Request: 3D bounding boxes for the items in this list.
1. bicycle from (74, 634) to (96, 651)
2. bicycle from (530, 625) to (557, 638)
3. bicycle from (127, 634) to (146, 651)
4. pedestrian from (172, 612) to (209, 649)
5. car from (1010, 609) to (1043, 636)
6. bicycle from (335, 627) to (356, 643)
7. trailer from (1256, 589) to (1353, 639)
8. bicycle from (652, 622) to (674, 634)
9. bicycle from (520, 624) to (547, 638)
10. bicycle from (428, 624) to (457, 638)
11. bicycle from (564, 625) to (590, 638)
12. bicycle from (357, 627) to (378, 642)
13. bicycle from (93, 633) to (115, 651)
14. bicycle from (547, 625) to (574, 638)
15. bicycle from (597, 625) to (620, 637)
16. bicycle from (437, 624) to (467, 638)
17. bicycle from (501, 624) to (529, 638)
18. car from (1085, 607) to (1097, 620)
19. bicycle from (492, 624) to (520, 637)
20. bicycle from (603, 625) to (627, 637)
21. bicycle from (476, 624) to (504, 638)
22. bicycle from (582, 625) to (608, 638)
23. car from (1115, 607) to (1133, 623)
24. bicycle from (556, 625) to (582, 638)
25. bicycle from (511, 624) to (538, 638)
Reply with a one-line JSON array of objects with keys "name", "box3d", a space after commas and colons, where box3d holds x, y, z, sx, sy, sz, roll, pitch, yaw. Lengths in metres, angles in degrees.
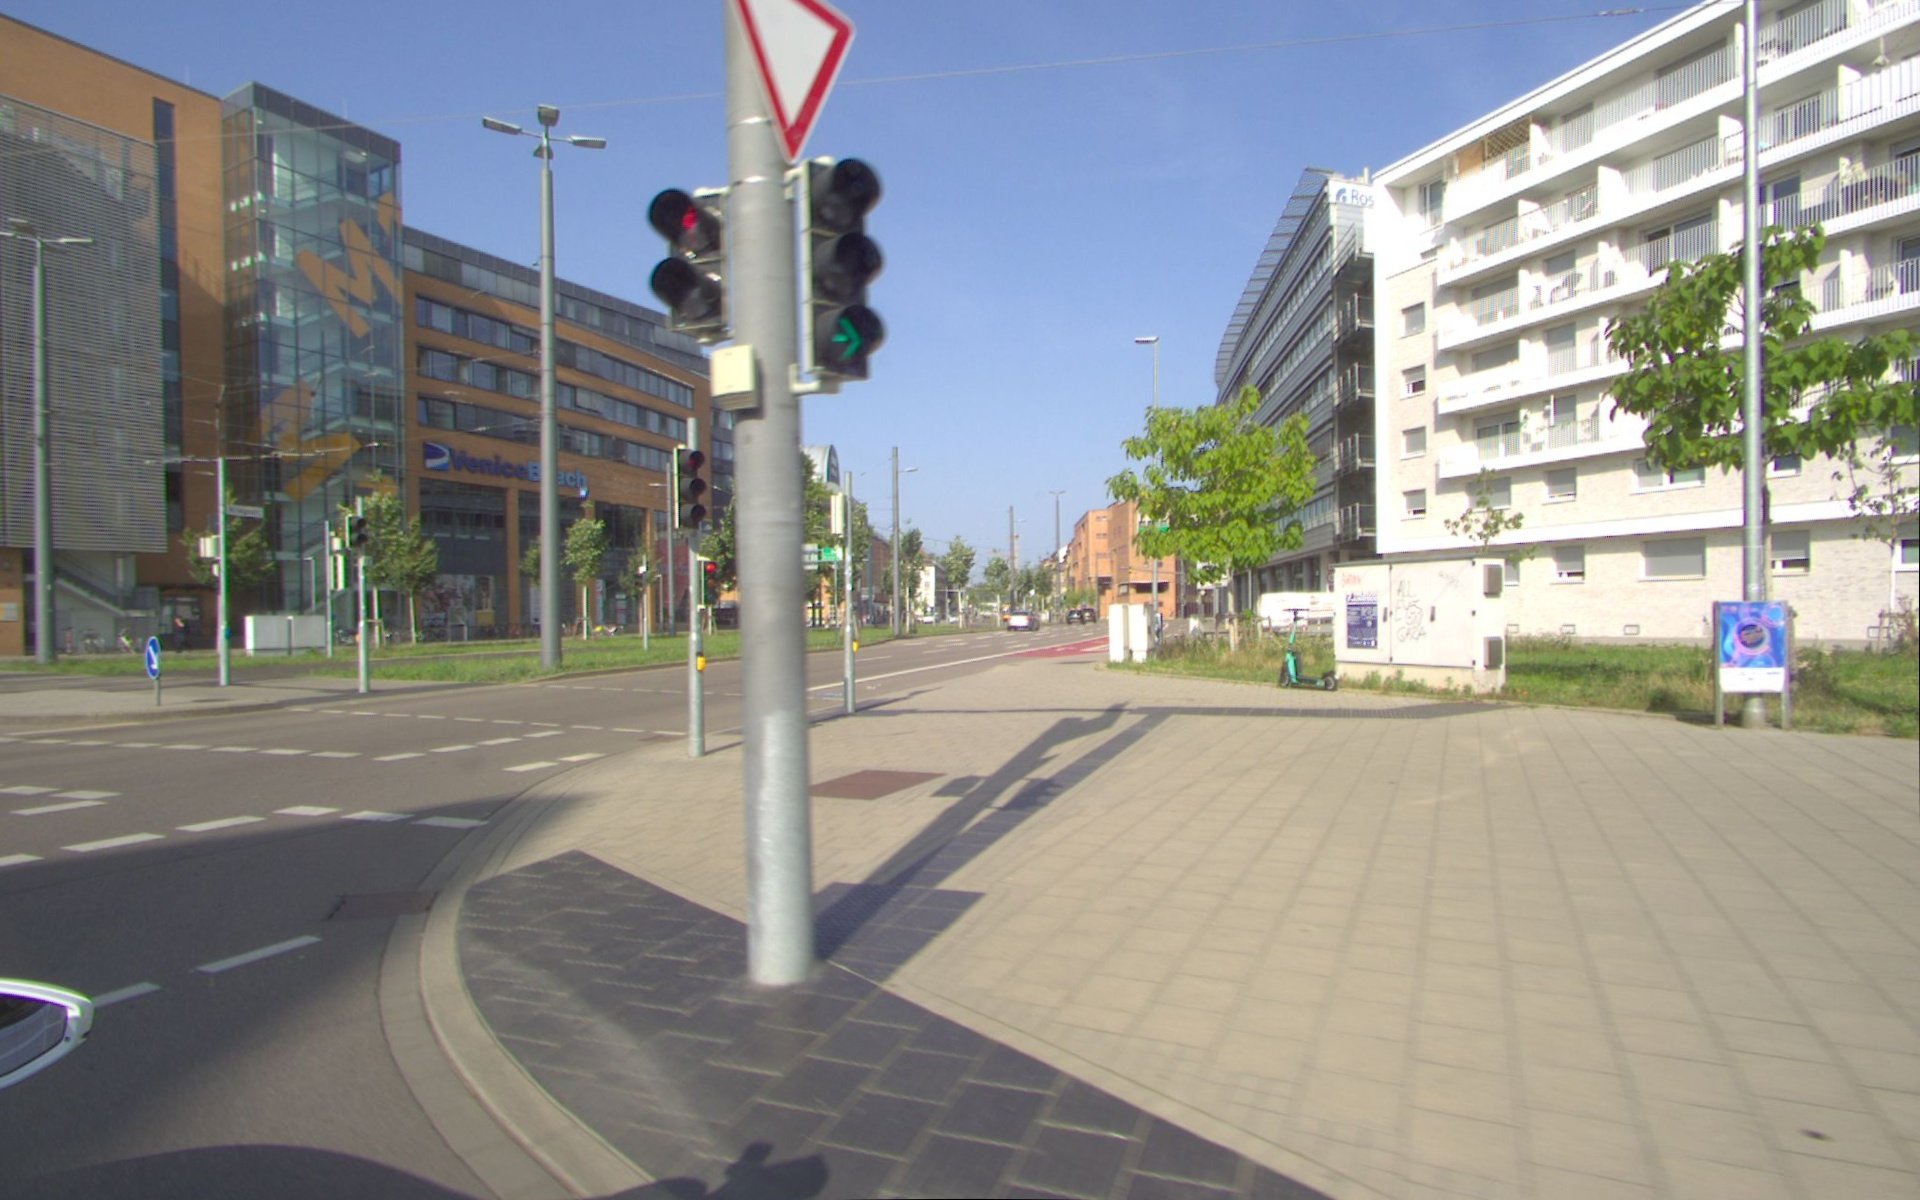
[{"name": "bicycle", "box3d": [-38.792, 1.883, 44.401, 0.991, 0.762, 0.450, -1, 0, 31]}, {"name": "bicycle", "box3d": [-30.171, 2.263, 72.532, 2.021, 0.933, 0.572, -1, 0, 24]}, {"name": "bicycle", "box3d": [-37.817, 1.934, 45.978, 1.009, 0.762, 0.359, -1, 0, 31]}, {"name": "pedestrian", "box3d": [-36.382, 1.424, 47.348, 0.807, 1.742, 1.171, 0, 0, 29]}, {"name": "car", "box3d": [4.700, 1.614, 70.435, 1.679, 1.777, 3.888, -1, -2, 14]}, {"name": "bicycle", "box3d": [-34.286, 1.950, 55.838, 1.444, 0.898, 0.256, -1, -2, 26]}, {"name": "trailer", "box3d": [16.314, 0.638, 47.172, 2.369, 2.179, 5.903, -1, -1, 40]}, {"name": "bicycle", "box3d": [-22.901, 2.192, 77.172, 1.655, 0.919, 0.707, -1, -1, 29]}, {"name": "bicycle", "box3d": [-30.532, 2.212, 71.690, 2.021, 0.933, 0.572, -1, 0, 24]}, {"name": "bicycle", "box3d": [-33.469, 1.999, 64.757, 2.021, 0.933, 0.572, -1, 0, 24]}, {"name": "bicycle", "box3d": [-28.982, 2.388, 75.835, 2.021, 0.933, 0.572, -1, 0, 24]}, {"name": "bicycle", "box3d": [-33.813, 1.962, 57.142, 1.444, 0.841, 0.256, 1, 0, 26]}, {"name": "bicycle", "box3d": [-38.408, 1.881, 44.949, 0.991, 0.762, 0.450, -1, 0, 31]}, {"name": "bicycle", "box3d": [-29.577, 2.316, 74.146, 2.021, 0.933, 0.572, -1, 0, 24]}, {"name": "bicycle", "box3d": [-27.665, 2.473, 78.863, 2.021, 0.933, 0.379, -1, 0, 24]}, {"name": "bicycle", "box3d": [-33.201, 2.024, 65.442, 2.021, 0.933, 0.572, -1, 0, 24]}, {"name": "bicycle", "box3d": [-31.149, 2.185, 70.096, 2.021, 0.933, 0.572, -1, 0, 24]}, {"name": "car", "box3d": [15.282, 1.575, 117.008, 1.315, 1.405, 3.059, -1, -2, 7]}, {"name": "bicycle", "box3d": [-31.462, 2.106, 69.337, 2.021, 0.933, 0.572, -1, 0, 24]}, {"name": "bicycle", "box3d": [-27.410, 2.499, 79.553, 2.021, 0.933, 0.572, -1, 0, 24]}, {"name": "bicycle", "box3d": [-31.947, 2.123, 68.091, 2.021, 0.933, 0.572, -1, 0, 24]}, {"name": "bicycle", "box3d": [-28.180, 2.421, 77.302, 2.021, 0.933, 0.572, -1, 0, 24]}, {"name": "car", "box3d": [16.367, 1.516, 99.906, 1.745, 1.528, 3.520, -1, -2, 11]}, {"name": "bicycle", "box3d": [-29.290, 2.349, 74.989, 2.021, 0.933, 0.572, -1, 0, 24]}, {"name": "bicycle", "box3d": [-30.859, 2.187, 70.918, 2.021, 0.933, 0.572, -1, 0, 24]}]
